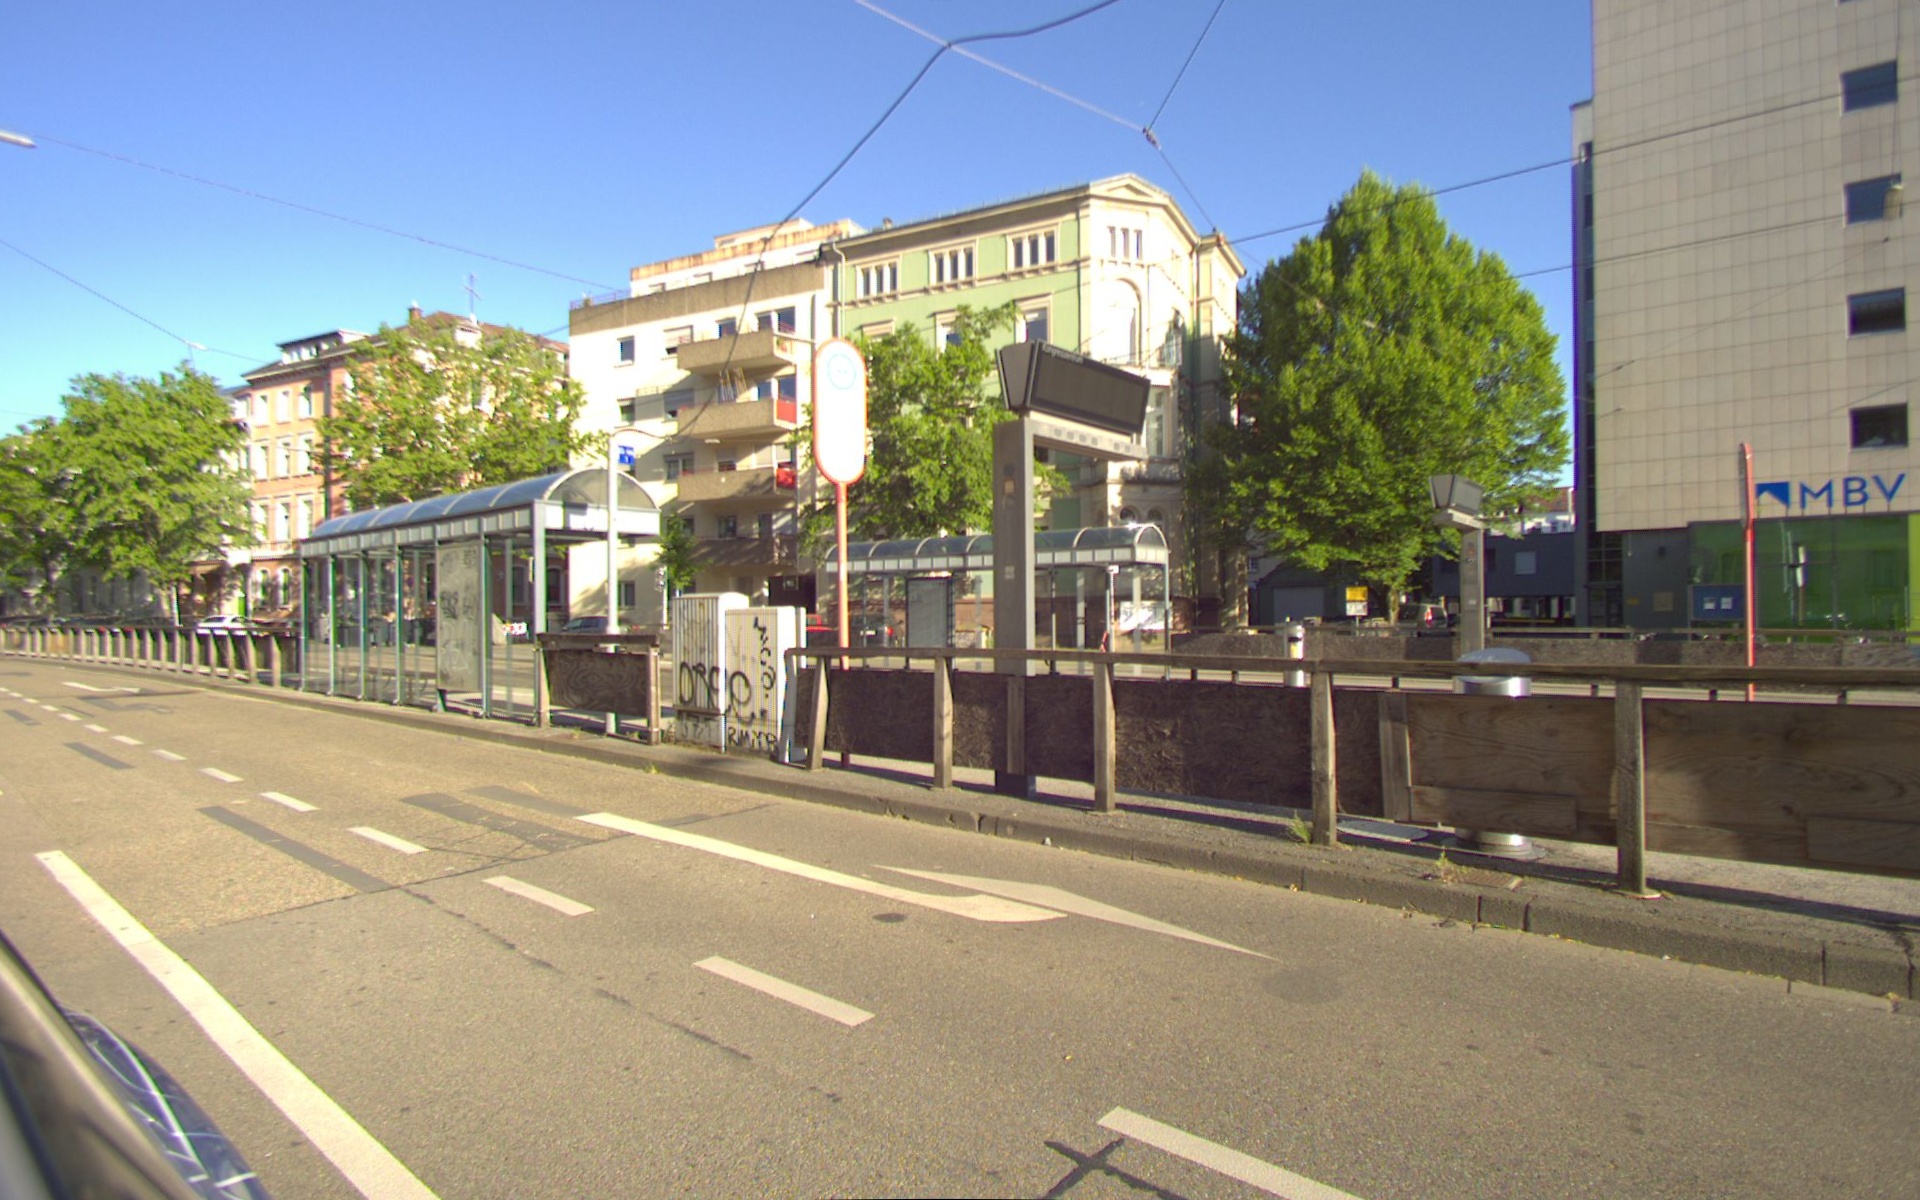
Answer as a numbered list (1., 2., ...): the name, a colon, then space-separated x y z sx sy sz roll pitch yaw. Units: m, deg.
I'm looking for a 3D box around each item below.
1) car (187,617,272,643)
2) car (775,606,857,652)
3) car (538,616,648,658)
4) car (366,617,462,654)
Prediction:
1. car: -39.051 1.591 54.192 1.565 1.360 3.631 0 -1 11
2. car: -6.484 1.304 46.026 1.791 2.029 3.963 -1 -1 27
3. car: -14.069 1.392 38.761 3.987 1.541 1.978 -1 -2 32
4. car: -23.724 1.538 43.944 3.987 1.541 1.978 -1 -2 32
